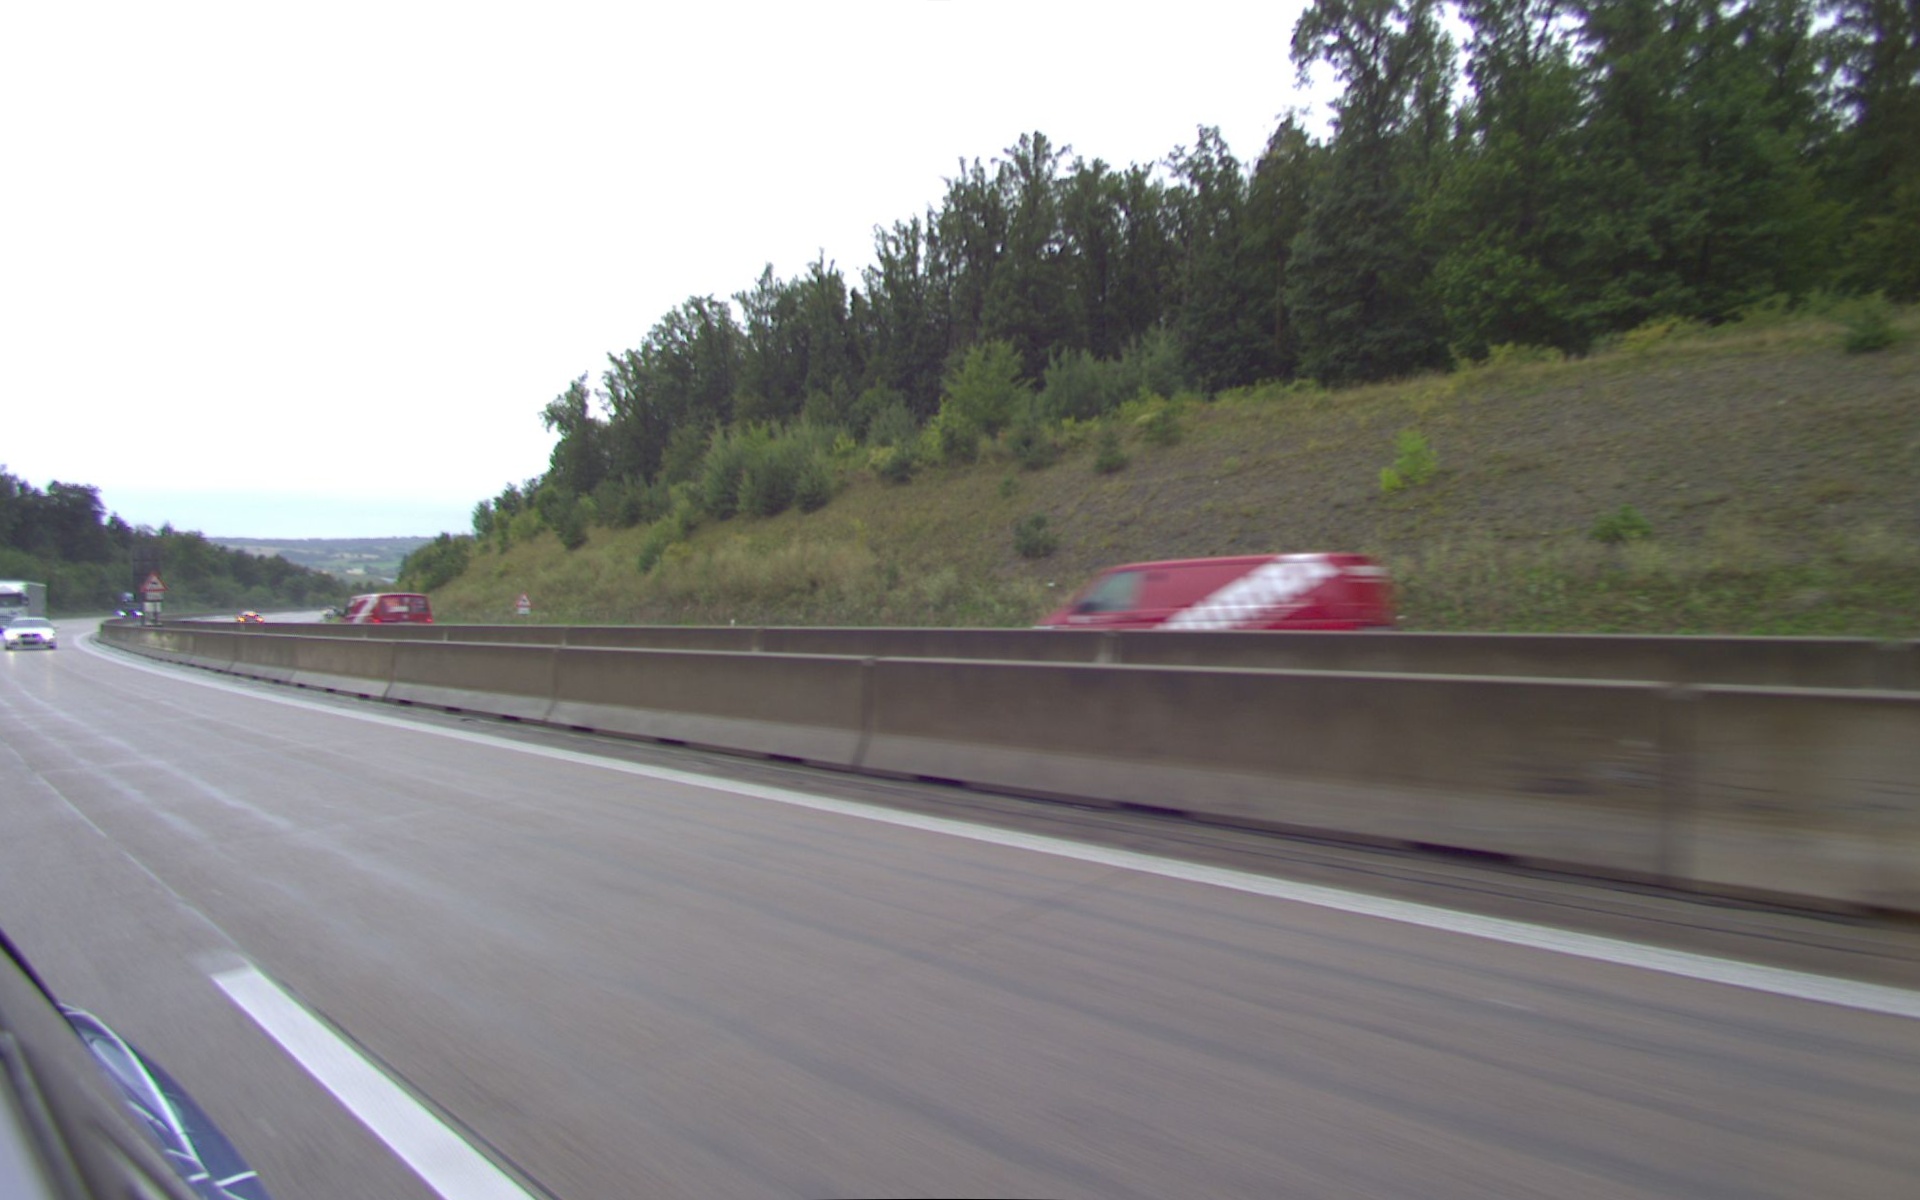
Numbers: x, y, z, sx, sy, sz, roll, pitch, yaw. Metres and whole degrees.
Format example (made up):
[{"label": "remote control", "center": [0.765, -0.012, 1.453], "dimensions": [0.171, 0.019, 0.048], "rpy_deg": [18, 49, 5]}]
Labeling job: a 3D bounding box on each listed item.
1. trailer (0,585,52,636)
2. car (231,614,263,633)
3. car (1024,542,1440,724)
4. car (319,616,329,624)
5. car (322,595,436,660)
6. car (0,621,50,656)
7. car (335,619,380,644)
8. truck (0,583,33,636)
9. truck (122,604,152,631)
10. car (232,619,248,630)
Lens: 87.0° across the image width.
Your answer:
[{"label": "trailer", "center": [-80.701, 0.945, 86.782], "dimensions": [2.644, 4.071, 13.737], "rpy_deg": [-2, 0, -35]}, {"label": "car", "center": [-63.288, 2.061, 89.827], "dimensions": [1.756, 1.651, 4.004], "rpy_deg": [1, -1, -43]}, {"label": "car", "center": [3.600, 0.426, 14.219], "dimensions": [5.330, 2.098, 1.972], "rpy_deg": [-1, -1, 42]}, {"label": "car", "center": [-139.841, 4.392, 222.440], "dimensions": [1.707, 1.588, 4.257], "rpy_deg": [1, -1, -30]}, {"label": "car", "center": [-20.238, 0.927, 35.160], "dimensions": [5.332, 2.098, 1.972], "rpy_deg": [-1, -1, 43]}, {"label": "car", "center": [-42.400, 1.706, 45.710], "dimensions": [1.822, 1.494, 4.456], "rpy_deg": [0, -1, -41]}, {"label": "car", "center": [-41.281, 2.145, 69.297], "dimensions": [1.756, 1.651, 4.257], "rpy_deg": [1, -1, -43]}, {"label": "truck", "center": [-76.533, 0.821, 80.952], "dimensions": [2.685, 4.071, 5.766], "rpy_deg": [-2, 0, -36]}, {"label": "truck", "center": [-132.703, 2.808, 163.184], "dimensions": [2.693, 4.183, 8.646], "rpy_deg": [0, -1, -32]}, {"label": "car", "center": [-102.024, 3.409, 143.428], "dimensions": [1.753, 1.529, 4.009], "rpy_deg": [1, -1, -37]}]
